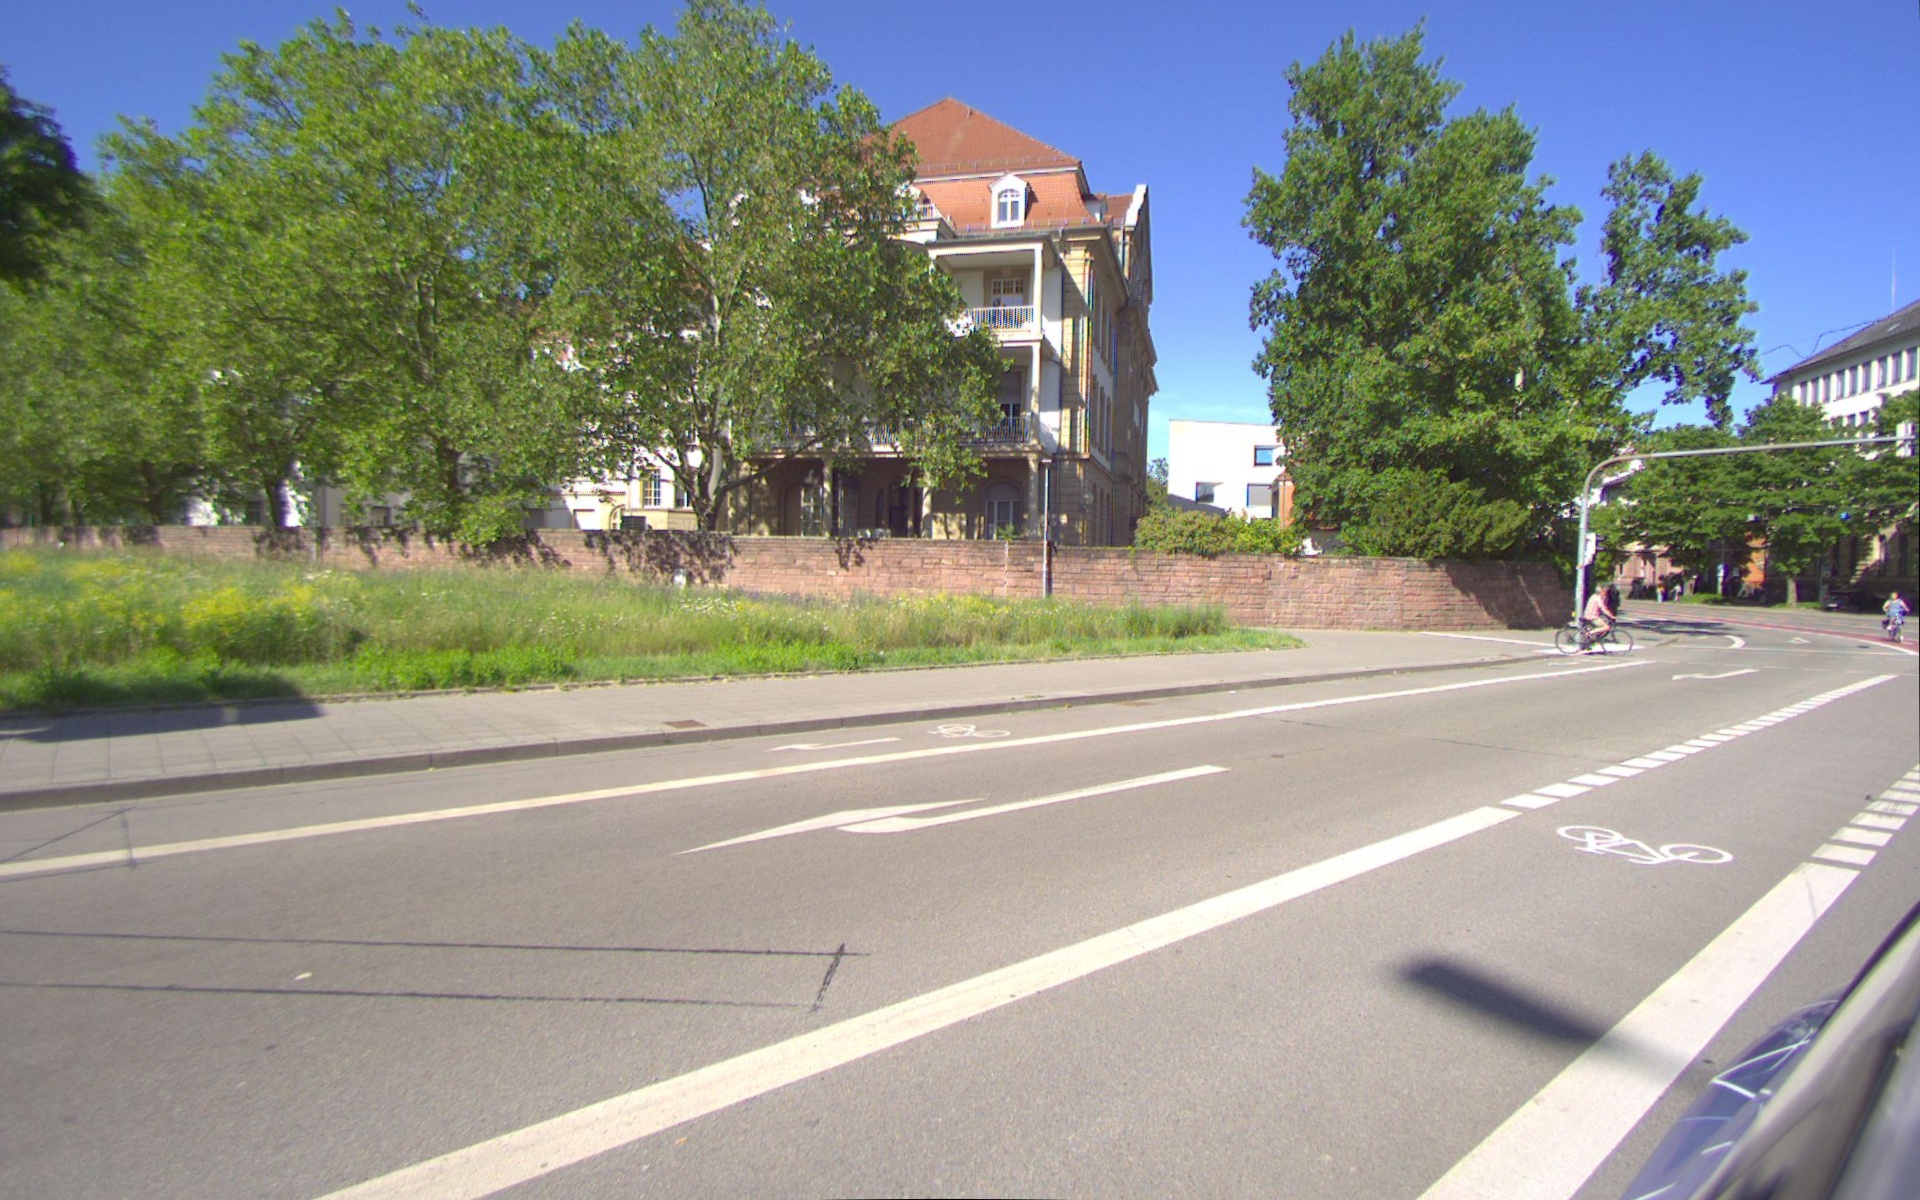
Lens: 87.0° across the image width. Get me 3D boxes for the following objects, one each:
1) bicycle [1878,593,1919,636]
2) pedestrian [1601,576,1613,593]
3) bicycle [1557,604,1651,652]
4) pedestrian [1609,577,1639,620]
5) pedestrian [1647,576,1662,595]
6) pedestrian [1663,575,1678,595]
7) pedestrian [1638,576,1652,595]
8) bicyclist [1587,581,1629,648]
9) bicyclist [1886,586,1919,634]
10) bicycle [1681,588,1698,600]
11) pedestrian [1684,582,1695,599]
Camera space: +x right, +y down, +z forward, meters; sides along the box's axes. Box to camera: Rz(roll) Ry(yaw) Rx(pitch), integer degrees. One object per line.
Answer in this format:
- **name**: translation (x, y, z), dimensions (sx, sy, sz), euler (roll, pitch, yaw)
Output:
- **bicycle**: translation (32.396, 0.477, 34.379), dimensions (0.753, 1.385, 2.720), euler (2, 2, 20)
- **pedestrian**: translation (69.779, -1.704, 109.168), dimensions (0.745, 1.835, 0.978), euler (1, 1, 10)
- **bicycle**: translation (16.105, 0.686, 25.358), dimensions (1.865, 1.083, 0.719), euler (2, 1, 25)
- **pedestrian**: translation (27.809, -0.080, 42.379), dimensions (0.935, 1.742, 0.983), euler (2, 2, 37)
- **pedestrian**: translation (67.365, -1.410, 98.195), dimensions (0.743, 1.836, 0.979), euler (2, -2, 2)
- **pedestrian**: translation (64.658, -1.353, 92.090), dimensions (0.745, 1.835, 0.978), euler (1, 1, 9)
- **pedestrian**: translation (66.455, -1.405, 98.185), dimensions (0.743, 1.836, 0.979), euler (2, -2, 2)
- **bicyclist**: translation (16.190, 0.341, 25.308), dimensions (0.770, 1.626, 0.716), euler (1, 1, 25)
- **bicyclist**: translation (32.428, 0.324, 34.445), dimensions (0.859, 1.579, 1.272), euler (2, 2, 20)
- **bicycle**: translation (60.844, -0.504, 84.402), dimensions (0.593, 1.019, 1.975), euler (0, 1, 20)
- **pedestrian**: translation (60.830, -0.788, 84.345), dimensions (0.589, 1.420, 0.641), euler (0, 0, 21)
